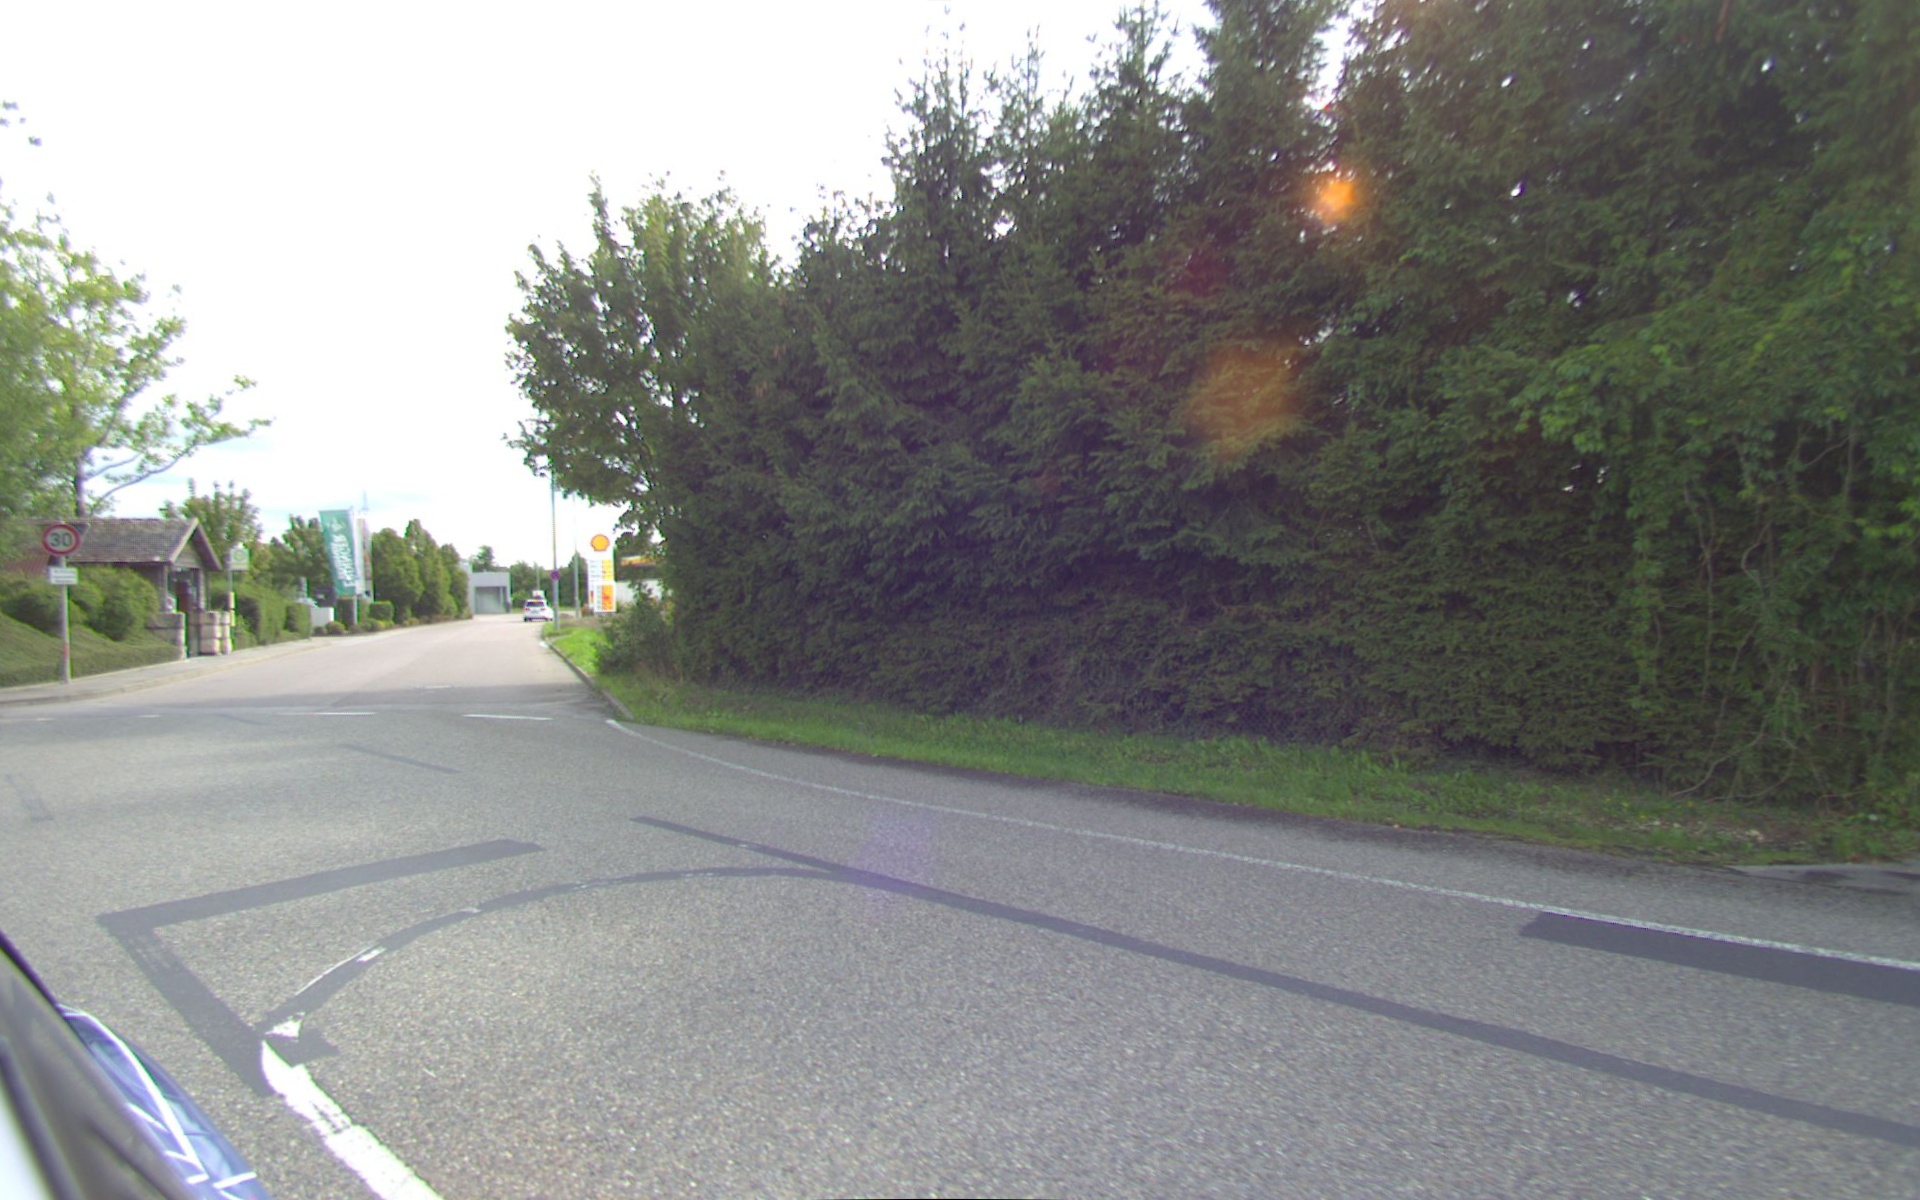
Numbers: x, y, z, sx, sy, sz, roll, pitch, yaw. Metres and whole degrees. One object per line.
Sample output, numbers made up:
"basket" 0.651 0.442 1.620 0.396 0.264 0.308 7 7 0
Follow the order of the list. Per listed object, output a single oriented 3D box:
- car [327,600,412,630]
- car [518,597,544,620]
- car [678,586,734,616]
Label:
"car" -37.171 0.937 63.800 4.290 1.729 1.662 -2 0 -15
"car" -32.522 0.607 76.644 1.675 1.678 4.045 0 0 -24
"car" -25.137 0.065 100.356 2.212 2.808 5.759 -2 0 25
